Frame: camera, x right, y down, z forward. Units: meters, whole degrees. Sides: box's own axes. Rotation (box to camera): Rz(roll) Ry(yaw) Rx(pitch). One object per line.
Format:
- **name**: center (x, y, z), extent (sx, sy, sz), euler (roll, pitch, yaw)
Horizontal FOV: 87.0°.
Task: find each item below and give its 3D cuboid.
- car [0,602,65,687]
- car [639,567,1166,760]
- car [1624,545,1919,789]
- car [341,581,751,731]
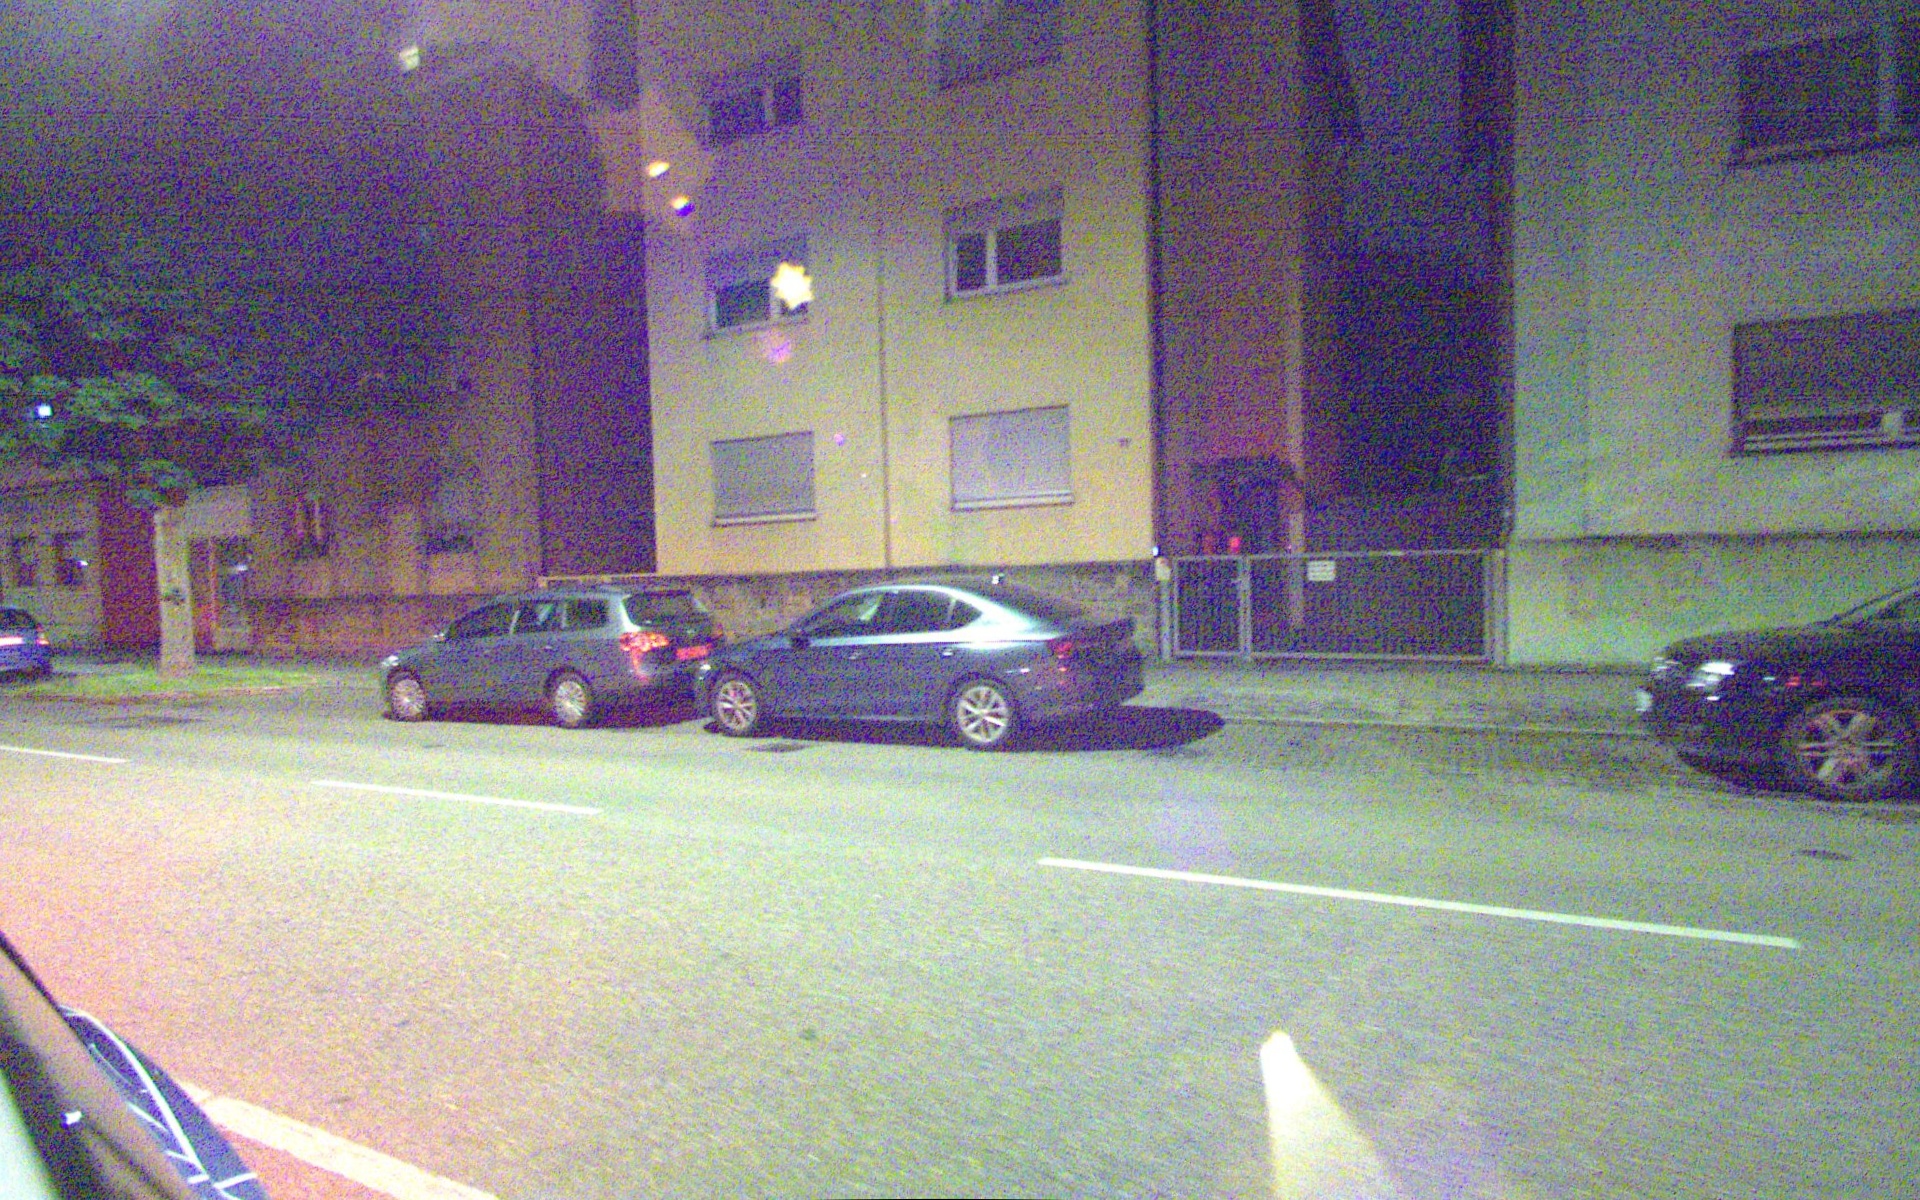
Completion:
- **car**: center (-19.390, 0.878, 19.596), extent (3.969, 1.505, 1.704), euler (-1, 2, 27)
- **car**: center (-0.631, 0.516, 9.739), extent (4.838, 1.497, 1.758), euler (-1, 1, 27)
- **car**: center (6.761, 0.347, 6.050), extent (4.425, 1.393, 1.614), euler (-1, 1, 25)
- **car**: center (-4.941, 0.583, 11.959), extent (4.741, 1.497, 1.759), euler (-1, 1, 26)
